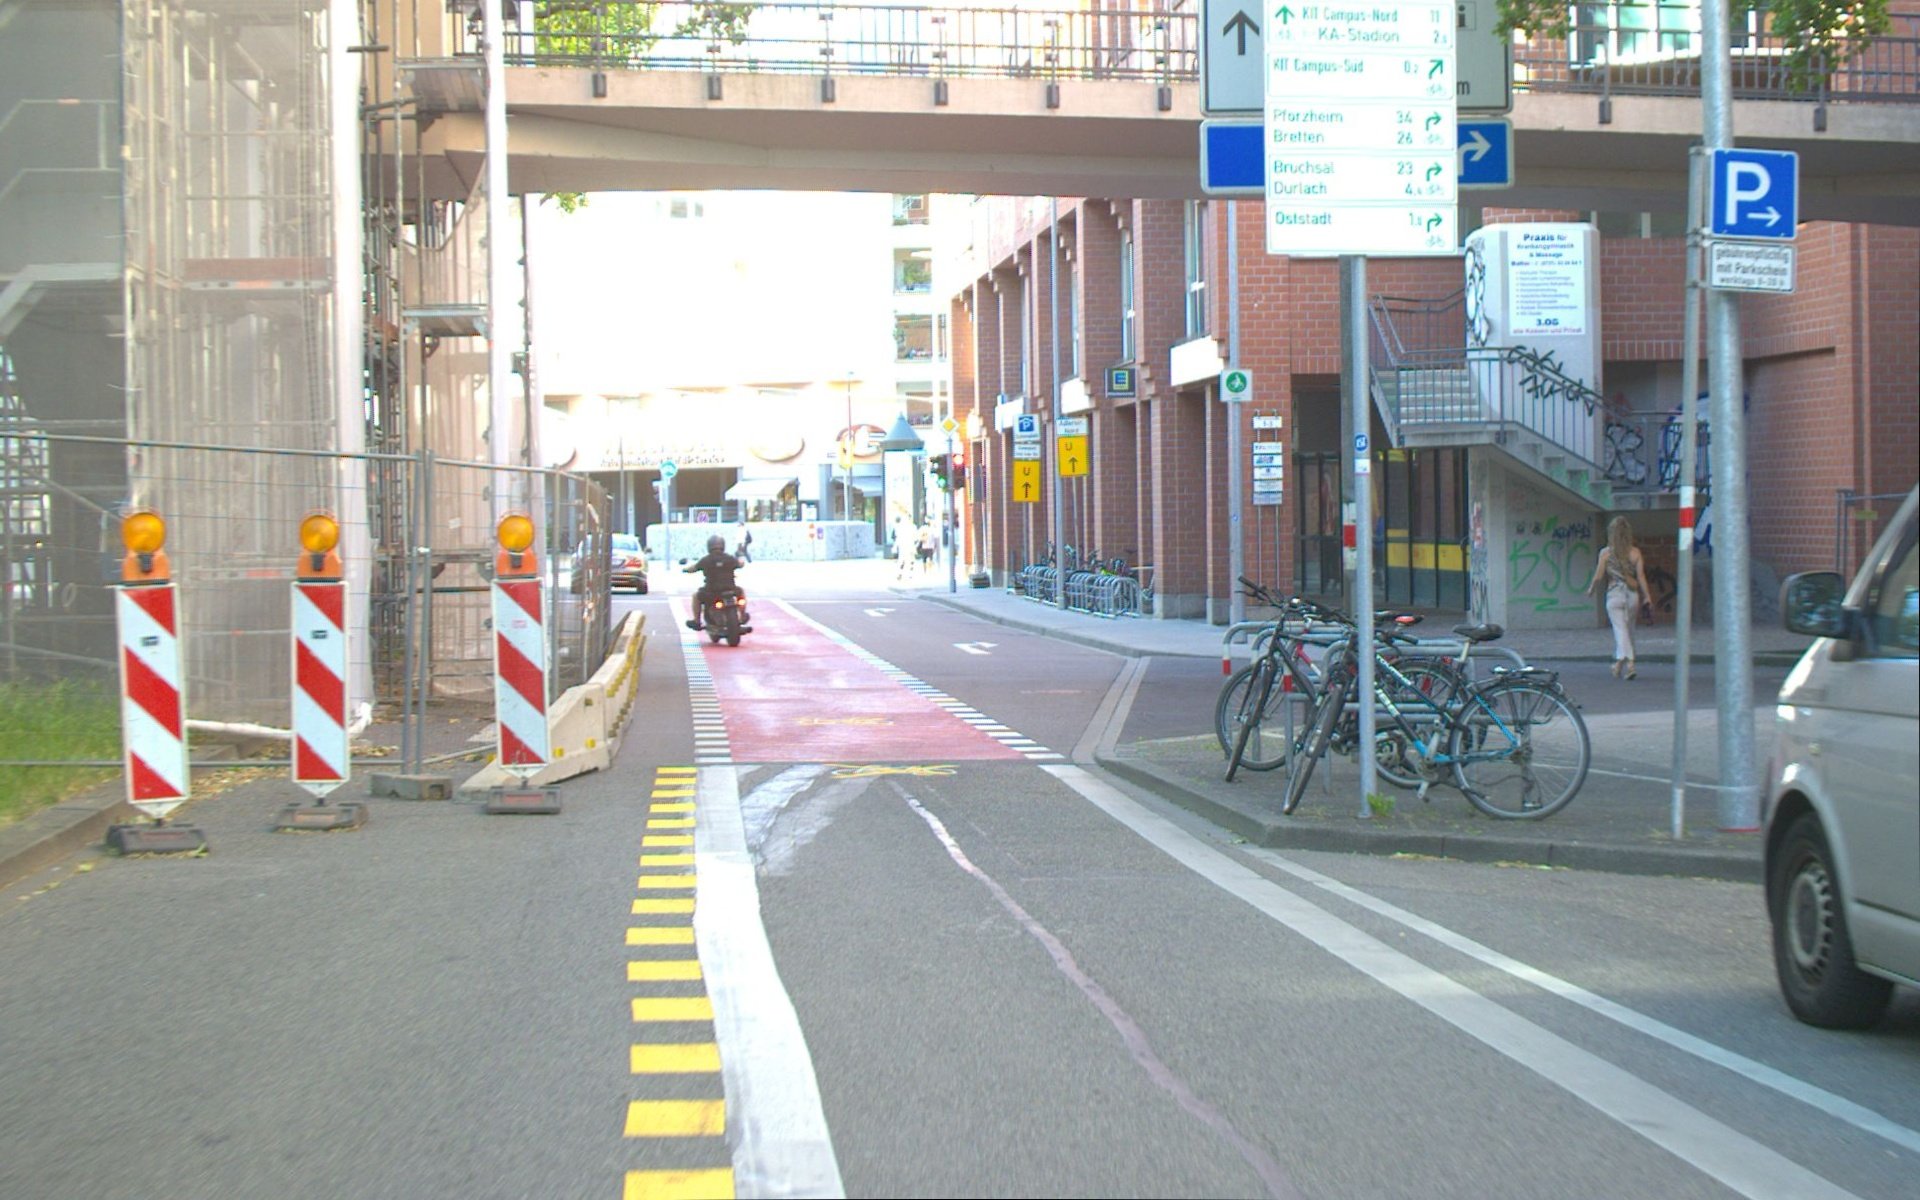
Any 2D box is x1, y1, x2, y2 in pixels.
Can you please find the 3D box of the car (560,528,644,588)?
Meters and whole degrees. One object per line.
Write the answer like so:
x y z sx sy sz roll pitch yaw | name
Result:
-8.710 -1.038 83.371 1.923 1.384 4.001 -1 2 -7 | car

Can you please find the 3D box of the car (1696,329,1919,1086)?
3.643 0.300 8.815 1.918 2.071 5.171 -1 1 -6 | car

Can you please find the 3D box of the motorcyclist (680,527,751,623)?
-3.484 -0.361 48.974 0.970 1.342 1.138 0 1 -6 | motorcyclist

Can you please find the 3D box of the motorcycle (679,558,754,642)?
-3.472 -0.017 48.842 0.973 1.128 2.805 0 1 -6 | motorcycle

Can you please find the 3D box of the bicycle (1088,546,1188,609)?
3.026 -0.386 58.509 1.611 0.951 0.555 -3 2 -3 | bicycle

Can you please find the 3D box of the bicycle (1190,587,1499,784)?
2.170 0.468 19.499 1.680 1.064 0.500 1 1 29 | bicycle

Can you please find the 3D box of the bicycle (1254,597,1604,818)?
2.354 0.524 17.268 1.679 1.064 0.511 0 1 18 | bicycle

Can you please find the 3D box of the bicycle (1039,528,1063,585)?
1.923 -0.924 72.914 0.339 1.179 1.678 -1 2 -4 | bicycle

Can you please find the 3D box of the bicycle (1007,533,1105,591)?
1.934 -0.768 69.364 1.891 1.115 0.475 -2 1 -5 | bicycle

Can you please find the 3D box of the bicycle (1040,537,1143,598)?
2.499 -0.622 65.364 1.891 1.115 0.550 -2 1 -5 | bicycle

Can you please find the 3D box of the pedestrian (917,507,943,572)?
-0.799 -1.608 91.776 0.633 1.719 0.630 -1 1 -5 | pedestrian

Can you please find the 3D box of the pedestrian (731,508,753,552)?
-7.915 -2.545 125.068 0.557 1.578 0.540 1 2 42 | pedestrian

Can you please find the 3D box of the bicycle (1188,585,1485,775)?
2.207 0.451 20.221 1.680 1.064 0.500 1 1 29 | bicycle

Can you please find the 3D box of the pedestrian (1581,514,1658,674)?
6.794 -0.073 35.447 0.569 1.627 0.778 0 1 -6 | pedestrian

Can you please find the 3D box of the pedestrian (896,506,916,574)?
-1.437 -1.607 91.822 0.475 1.786 0.541 -1 1 -5 | pedestrian

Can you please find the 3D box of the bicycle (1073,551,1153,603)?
2.720 -0.417 61.246 1.334 0.838 0.425 -3 2 -3 | bicycle
